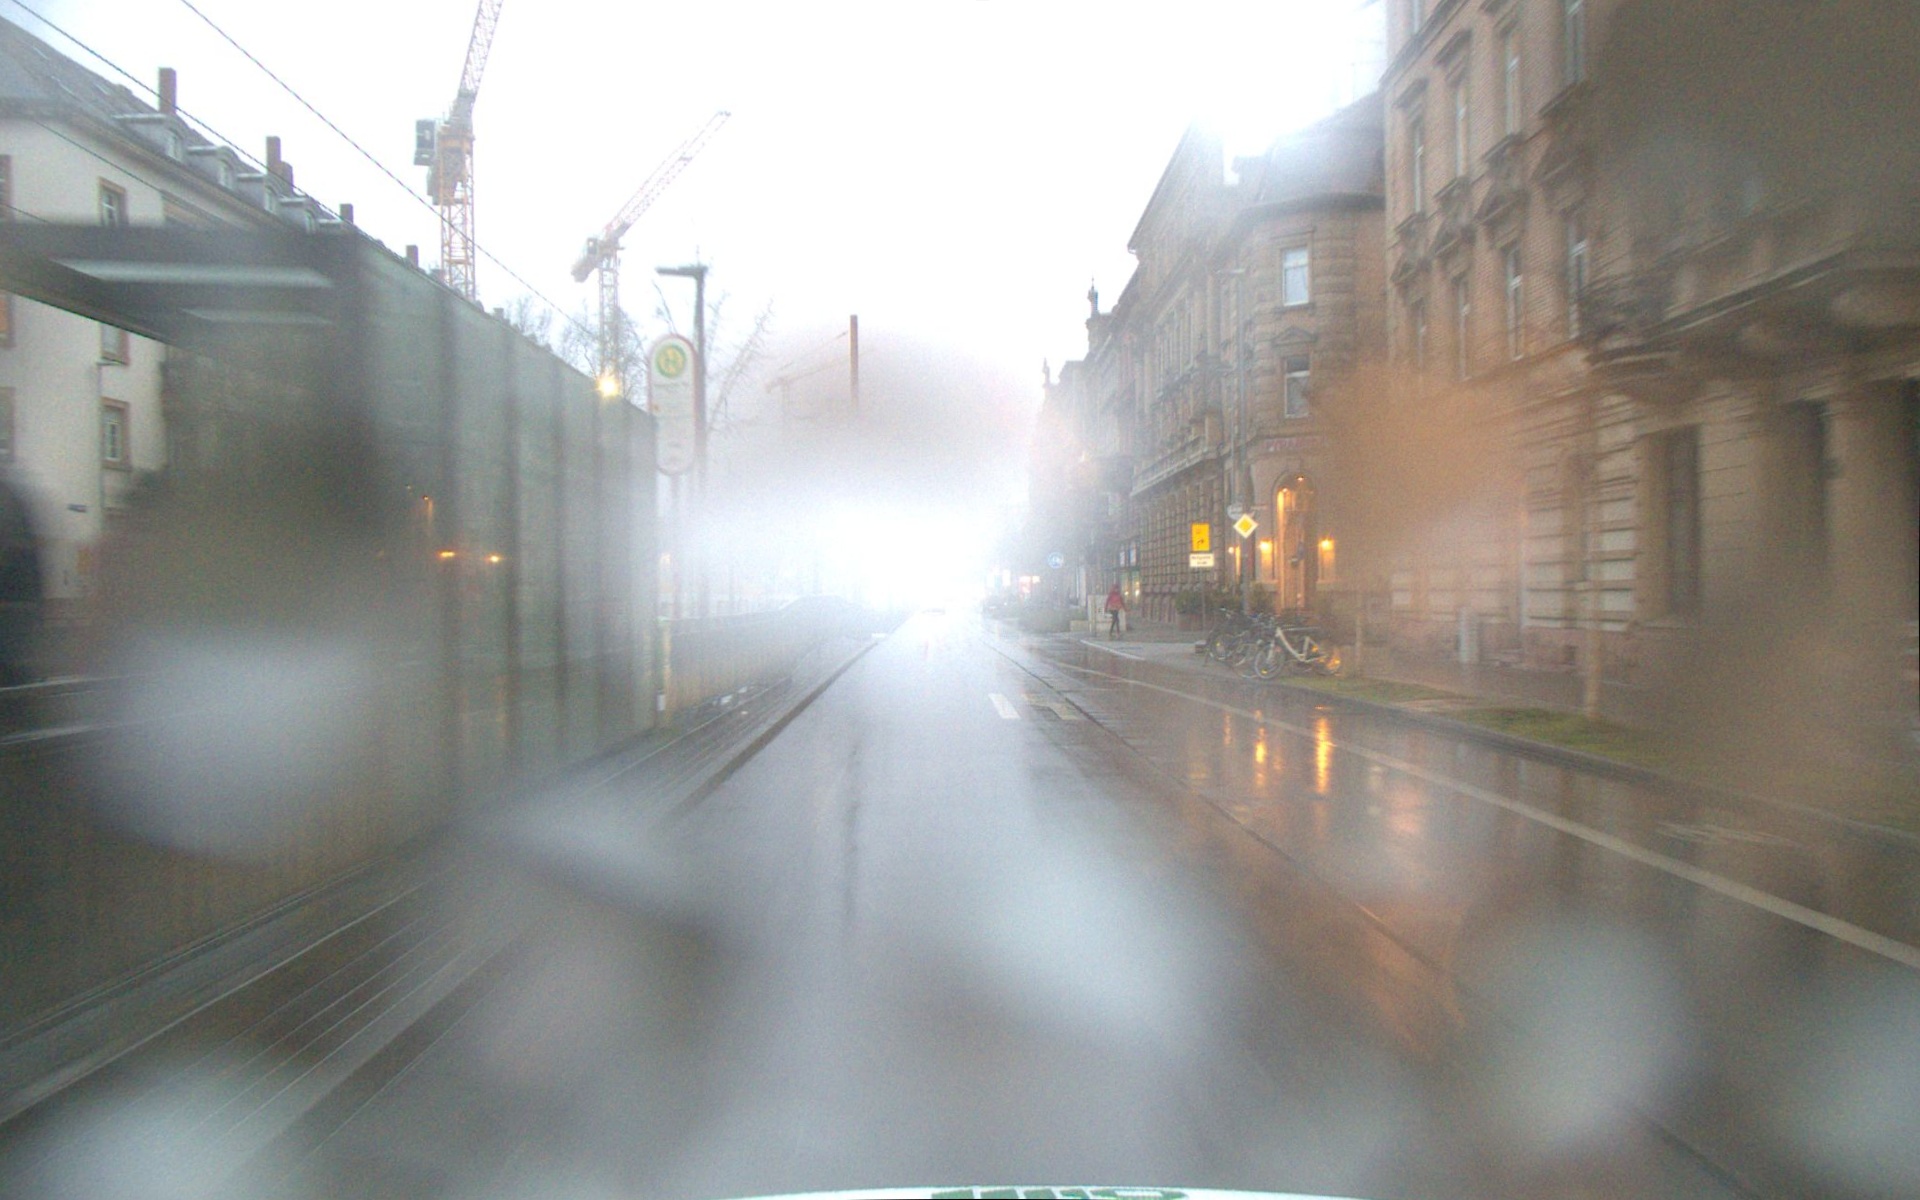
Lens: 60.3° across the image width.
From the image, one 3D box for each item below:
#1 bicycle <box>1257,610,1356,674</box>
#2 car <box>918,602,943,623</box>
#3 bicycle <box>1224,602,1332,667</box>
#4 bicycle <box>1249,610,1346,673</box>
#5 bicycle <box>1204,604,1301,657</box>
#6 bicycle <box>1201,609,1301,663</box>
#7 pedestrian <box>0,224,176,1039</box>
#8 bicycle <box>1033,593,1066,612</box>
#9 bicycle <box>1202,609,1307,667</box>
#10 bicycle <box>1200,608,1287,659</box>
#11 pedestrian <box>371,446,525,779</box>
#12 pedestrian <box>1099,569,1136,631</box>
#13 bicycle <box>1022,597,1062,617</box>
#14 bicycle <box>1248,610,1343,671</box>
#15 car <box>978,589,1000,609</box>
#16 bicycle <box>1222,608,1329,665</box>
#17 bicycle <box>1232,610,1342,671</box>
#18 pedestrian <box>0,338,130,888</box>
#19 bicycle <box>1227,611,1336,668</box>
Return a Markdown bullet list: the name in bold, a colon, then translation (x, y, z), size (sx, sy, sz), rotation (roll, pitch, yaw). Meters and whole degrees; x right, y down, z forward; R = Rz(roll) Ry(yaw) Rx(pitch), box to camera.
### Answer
- **bicycle**: translation (6.316, 0.761, 30.159), size (1.695, 1.073, 0.371), rotation (-2, 0, -2)
- **car**: translation (-2.226, 0.903, 124.196), size (1.747, 1.492, 3.149), rotation (-1, 0, 1)
- **bicycle**: translation (6.153, 0.671, 32.035), size (1.968, 1.114, 0.425), rotation (-4, 0, -2)
- **bicycle**: translation (6.249, 0.762, 30.659), size (1.695, 1.073, 0.371), rotation (-2, 0, -2)
- **bicycle**: translation (6.471, 0.676, 36.621), size (2.046, 1.070, 0.478), rotation (-2, 0, -3)
- **bicycle**: translation (6.256, 0.769, 35.594), size (2.046, 1.070, 0.478), rotation (-3, 0, -3)
- **pedestrian**: translation (-2.858, 0.084, 4.754), size (0.793, 2.147, 0.804), rotation (-1, 0, -1)
- **bicycle**: translation (5.157, 0.131, 95.523), size (1.814, 1.077, 0.471), rotation (-1, 0, -4)
- **bicycle**: translation (6.247, 0.796, 35.070), size (2.101, 1.073, 0.425), rotation (-4, 1, -2)
- **bicycle**: translation (6.473, 0.755, 37.680), size (2.063, 1.070, 0.474), rotation (-3, 0, -28)
- **pedestrian**: translation (-3.425, 0.073, 11.127), size (0.793, 2.147, 0.804), rotation (-1, 0, -4)
- **pedestrian**: translation (5.246, -0.001, 55.238), size (0.844, 2.049, 0.909), rotation (-1, 0, -30)
- **bicycle**: translation (4.538, 0.378, 91.574), size (2.106, 1.076, 0.525), rotation (-1, 0, -7)
- **bicycle**: translation (6.357, 0.765, 31.345), size (1.695, 1.073, 0.371), rotation (-2, 0, -2)
- **car**: translation (2.461, -0.083, 138.176), size (1.762, 1.632, 3.771), rotation (-1, 0, 2)
- **bicycle**: translation (6.200, 0.713, 32.534), size (1.968, 0.988, 0.425), rotation (-4, 0, -2)
- **bicycle**: translation (6.606, 0.815, 33.417), size (2.101, 1.073, 0.425), rotation (-3, 1, -2)
- **pedestrian**: translation (-4.039, 0.052, 6.851), size (0.793, 2.147, 0.804), rotation (-1, 0, -4)
- **bicycle**: translation (6.594, 0.799, 33.960), size (2.101, 1.073, 0.484), rotation (-2, 0, -2)
